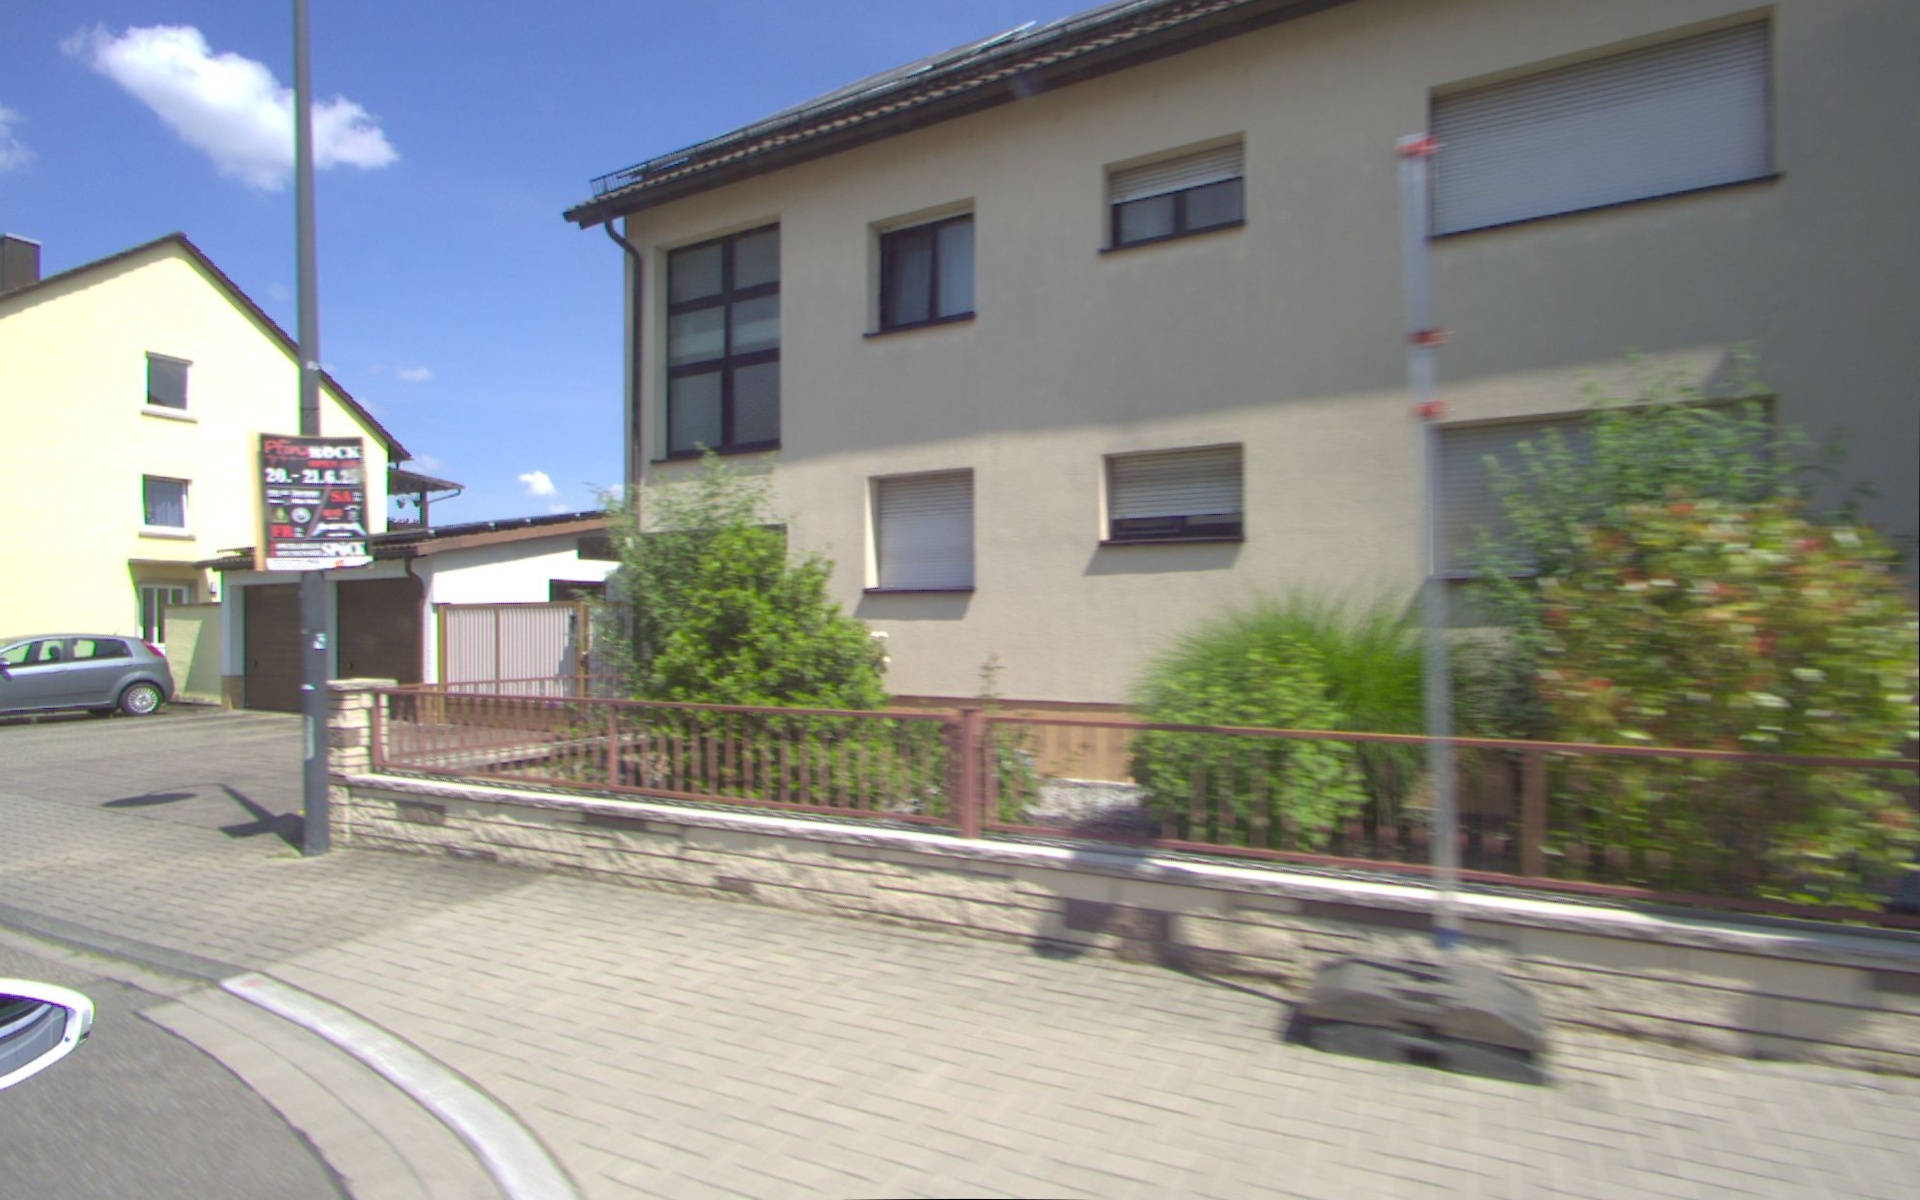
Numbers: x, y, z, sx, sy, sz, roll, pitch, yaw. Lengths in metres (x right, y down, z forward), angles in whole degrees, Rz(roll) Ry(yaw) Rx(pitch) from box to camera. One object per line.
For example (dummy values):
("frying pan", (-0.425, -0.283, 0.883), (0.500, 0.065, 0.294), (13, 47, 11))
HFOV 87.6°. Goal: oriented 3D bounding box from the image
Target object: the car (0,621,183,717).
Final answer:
("car", (-15.708, 1.121, 16.727), (1.719, 1.492, 3.984), (-1, -1, 28))
